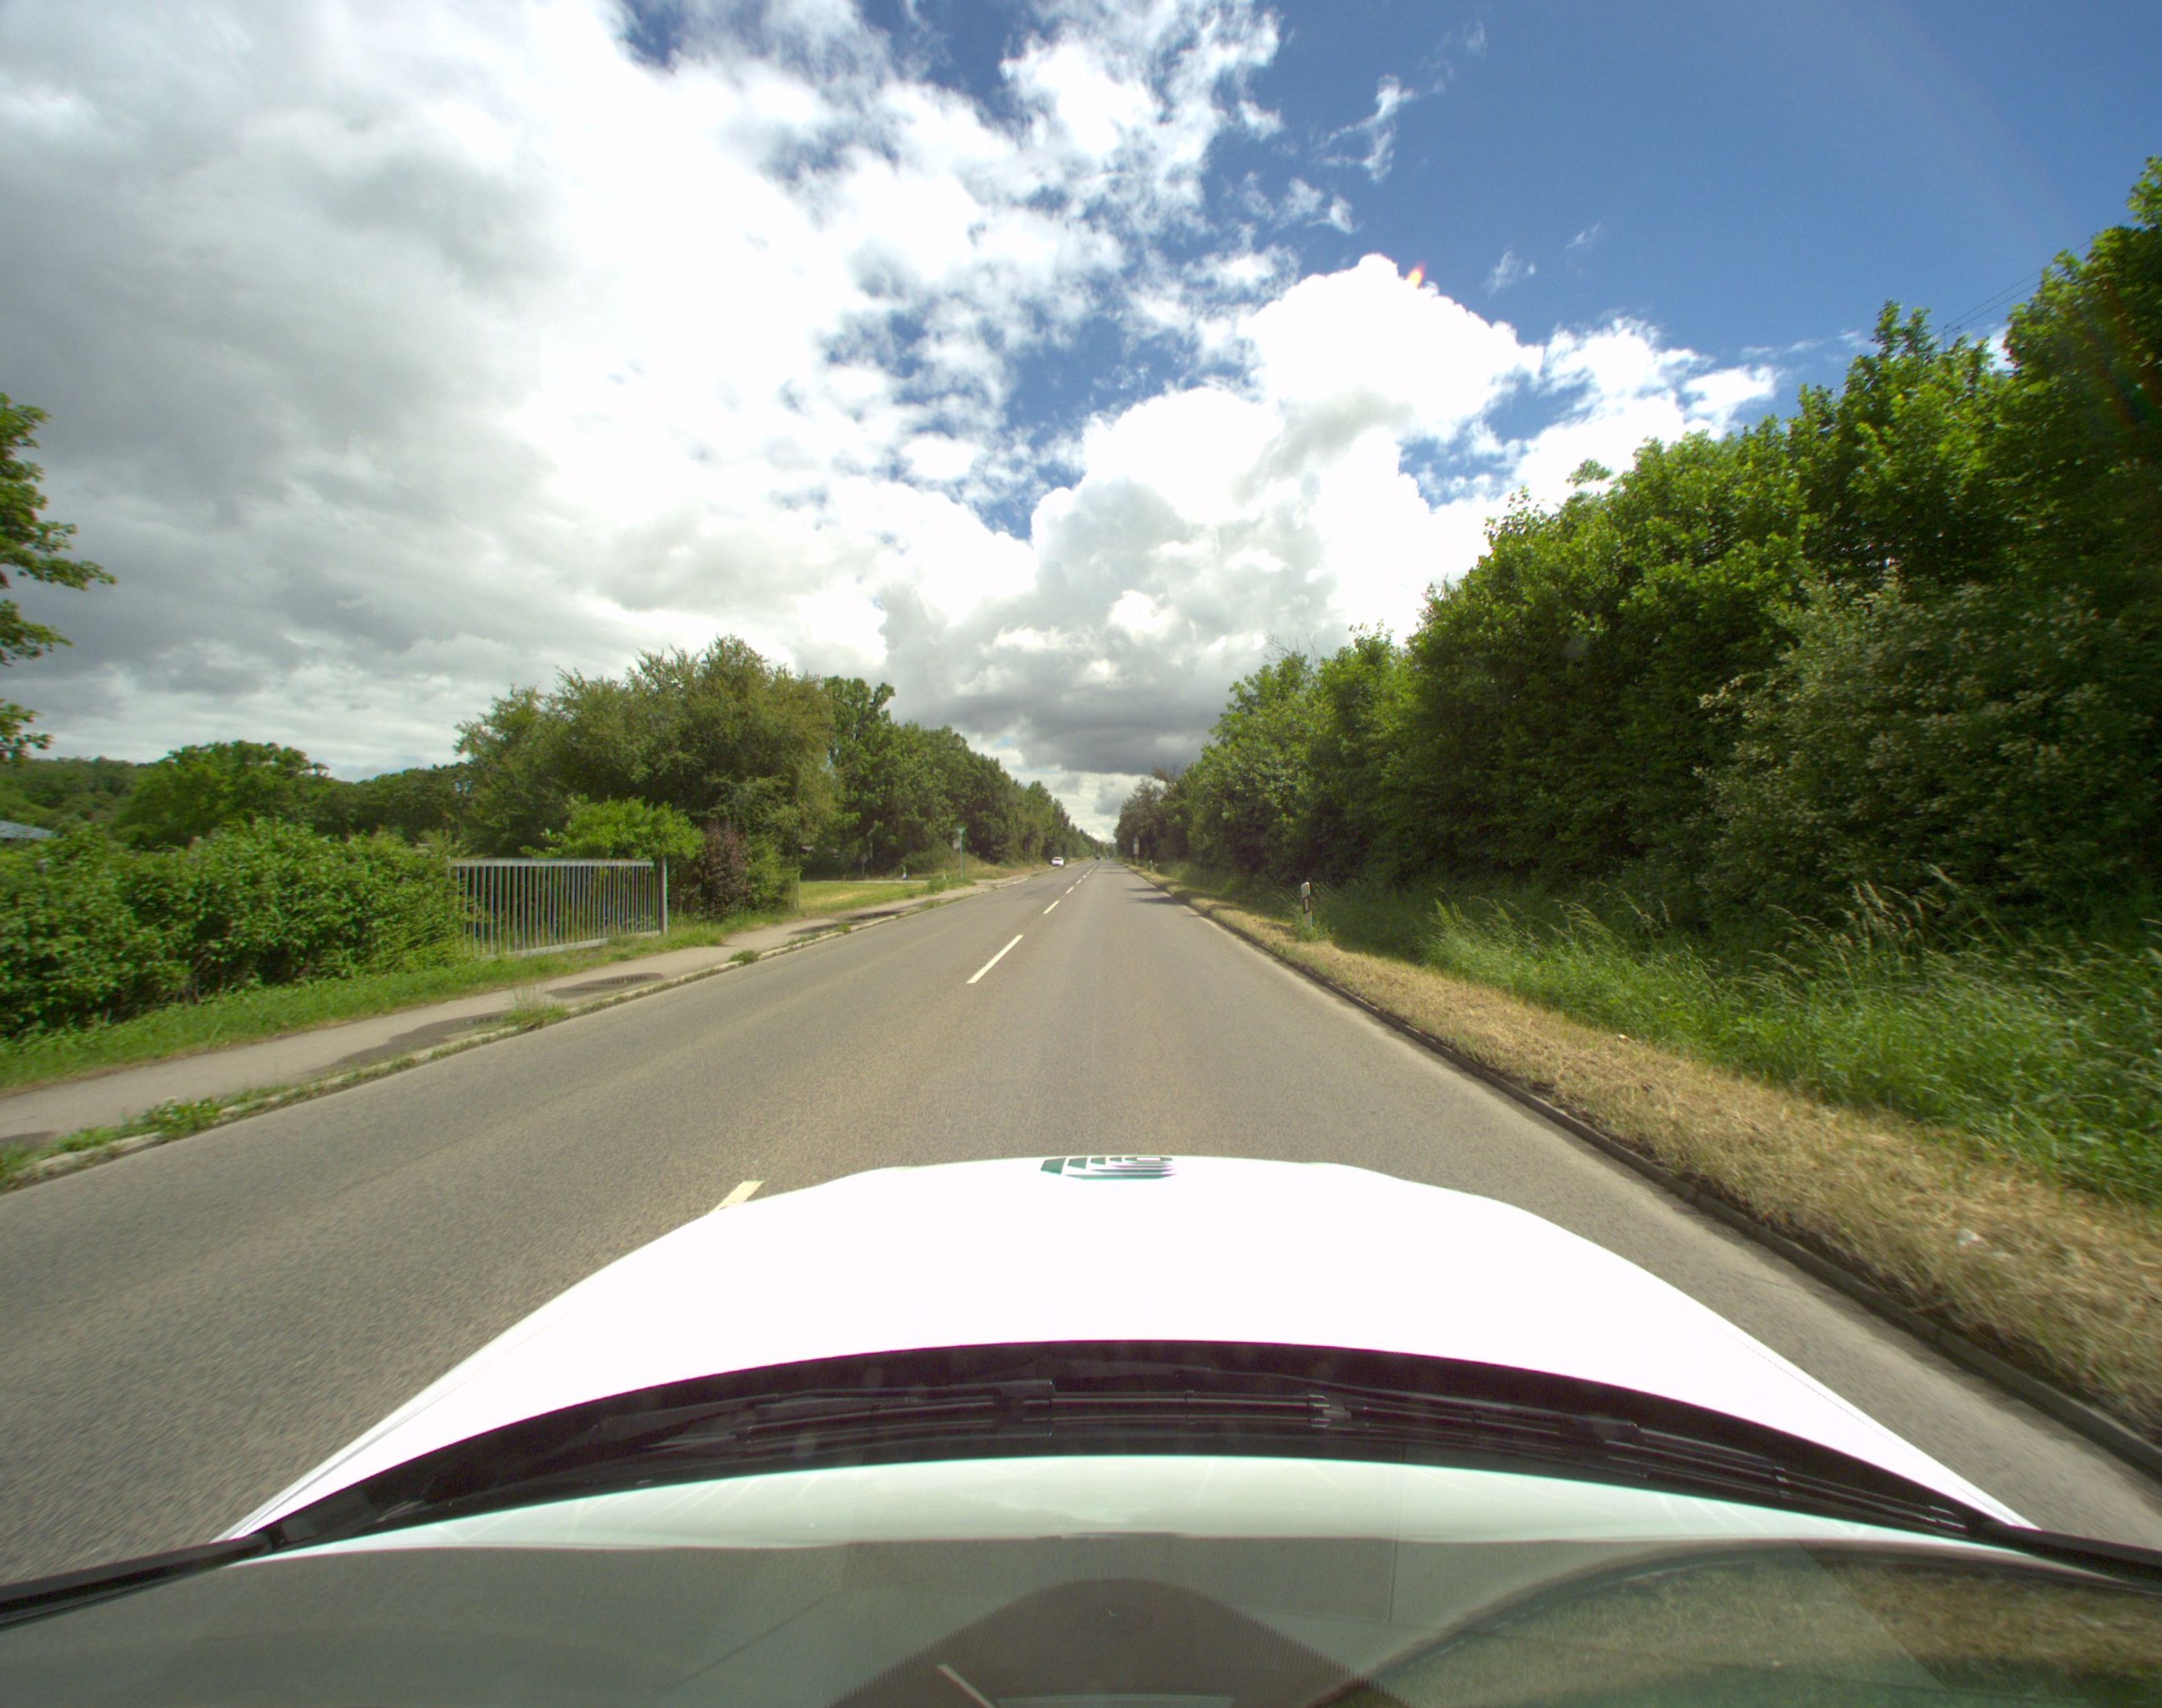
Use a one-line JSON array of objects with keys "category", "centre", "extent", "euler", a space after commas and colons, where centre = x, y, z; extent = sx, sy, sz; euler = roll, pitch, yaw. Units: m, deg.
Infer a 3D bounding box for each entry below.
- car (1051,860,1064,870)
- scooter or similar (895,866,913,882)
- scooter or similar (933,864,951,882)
[{"category": "car", "centre": [-3.618, 1.716, 127.241], "extent": [1.791, 1.543, 3.956], "euler": [-2, -2, 2]}, {"category": "scooter or similar", "centre": [-13.022, 1.469, 59.918], "extent": [1.234, 1.169, 0.408], "euler": [-1, 0, 14]}, {"category": "scooter or similar", "centre": [-8.991, 1.223, 52.768], "extent": [1.334, 1.169, 0.409], "euler": [-1, -1, 42]}]
